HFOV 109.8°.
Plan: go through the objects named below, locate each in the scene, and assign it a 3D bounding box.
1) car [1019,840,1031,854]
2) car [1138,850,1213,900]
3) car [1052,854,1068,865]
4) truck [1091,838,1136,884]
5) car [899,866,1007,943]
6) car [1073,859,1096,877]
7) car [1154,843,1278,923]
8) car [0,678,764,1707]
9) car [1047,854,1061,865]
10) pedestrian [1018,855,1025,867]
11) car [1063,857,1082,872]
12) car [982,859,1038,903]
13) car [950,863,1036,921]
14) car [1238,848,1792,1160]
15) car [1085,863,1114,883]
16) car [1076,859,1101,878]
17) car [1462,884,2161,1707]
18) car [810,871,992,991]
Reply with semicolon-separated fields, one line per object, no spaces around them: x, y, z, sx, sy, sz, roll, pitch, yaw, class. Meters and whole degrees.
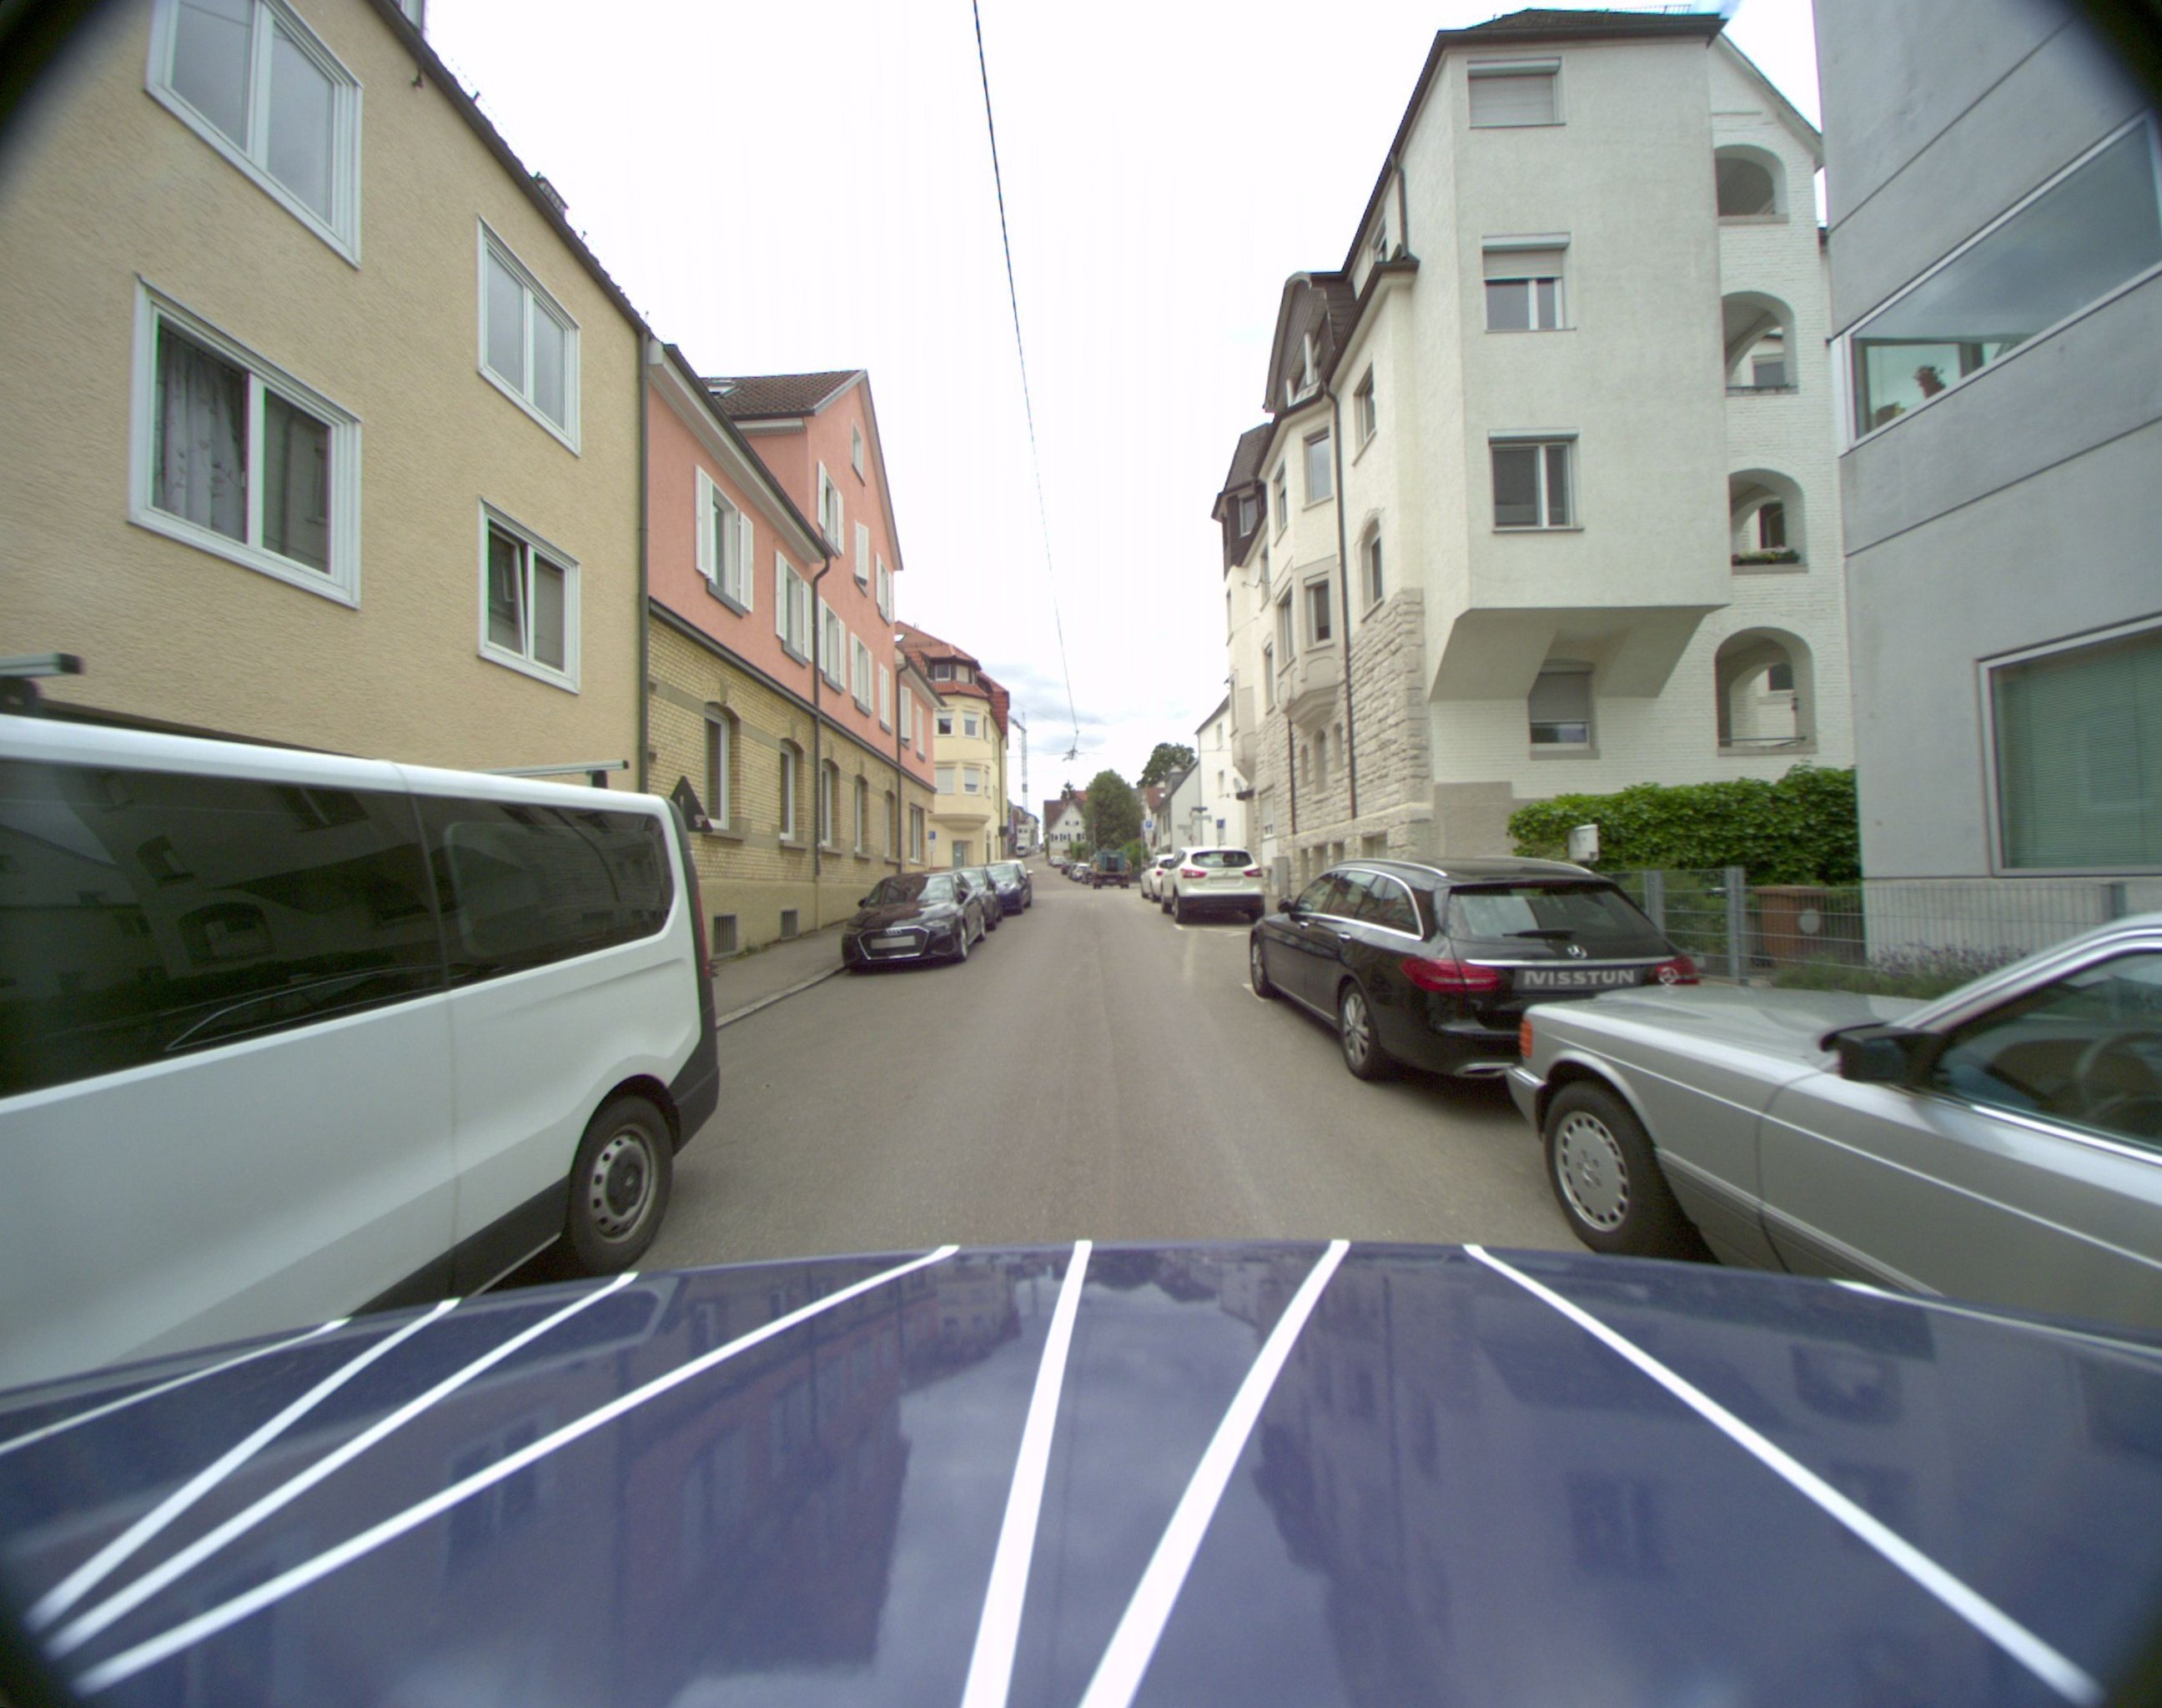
-11.120;-1.340;149.407;2.194;2.630;5.822;0;0;-6;car
2.862;0.610;23.861;1.703;1.405;4.240;-1;0;-1;car
-2.920;0.787;105.298;1.856;1.441;3.944;0;0;-6;car
1.839;0.505;45.063;2.316;2.536;6.290;0;-2;-1;truck
-2.734;1.040;17.118;1.857;1.395;3.966;-3;0;-3;car
0.306;1.367;73.166;1.856;1.641;3.944;0;0;-6;car
2.815;0.579;16.784;1.850;1.506;4.240;-1;0;-1;car
-2.767;0.752;1.321;1.910;2.018;5.733;-3;0;0;car
-3.961;0.757;111.211;1.856;1.441;3.942;0;2;-6;car
-7.402;0.917;93.956;0.757;1.480;0.566;-1;0;-19;pedestrian
-1.003;1.178;87.028;1.856;1.641;3.944;0;0;-6;car
-2.515;0.921;27.634;1.672;1.470;3.626;-1;0;0;car
-2.408;1.004;21.841;1.857;1.395;4.292;-3;0;1;car
2.656;0.748;6.073;1.900;1.518;4.470;-1;1;1;car
1.420;1.473;58.680;1.855;1.454;3.945;0;-1;-4;car
0.643;1.301;68.045;1.855;1.640;3.945;0;-1;-4;car
2.722;0.885;1.020;1.849;1.405;5.061;-1;1;0;car
-2.696;1.093;12.531;1.857;1.395;4.575;-4;0;-1;car
